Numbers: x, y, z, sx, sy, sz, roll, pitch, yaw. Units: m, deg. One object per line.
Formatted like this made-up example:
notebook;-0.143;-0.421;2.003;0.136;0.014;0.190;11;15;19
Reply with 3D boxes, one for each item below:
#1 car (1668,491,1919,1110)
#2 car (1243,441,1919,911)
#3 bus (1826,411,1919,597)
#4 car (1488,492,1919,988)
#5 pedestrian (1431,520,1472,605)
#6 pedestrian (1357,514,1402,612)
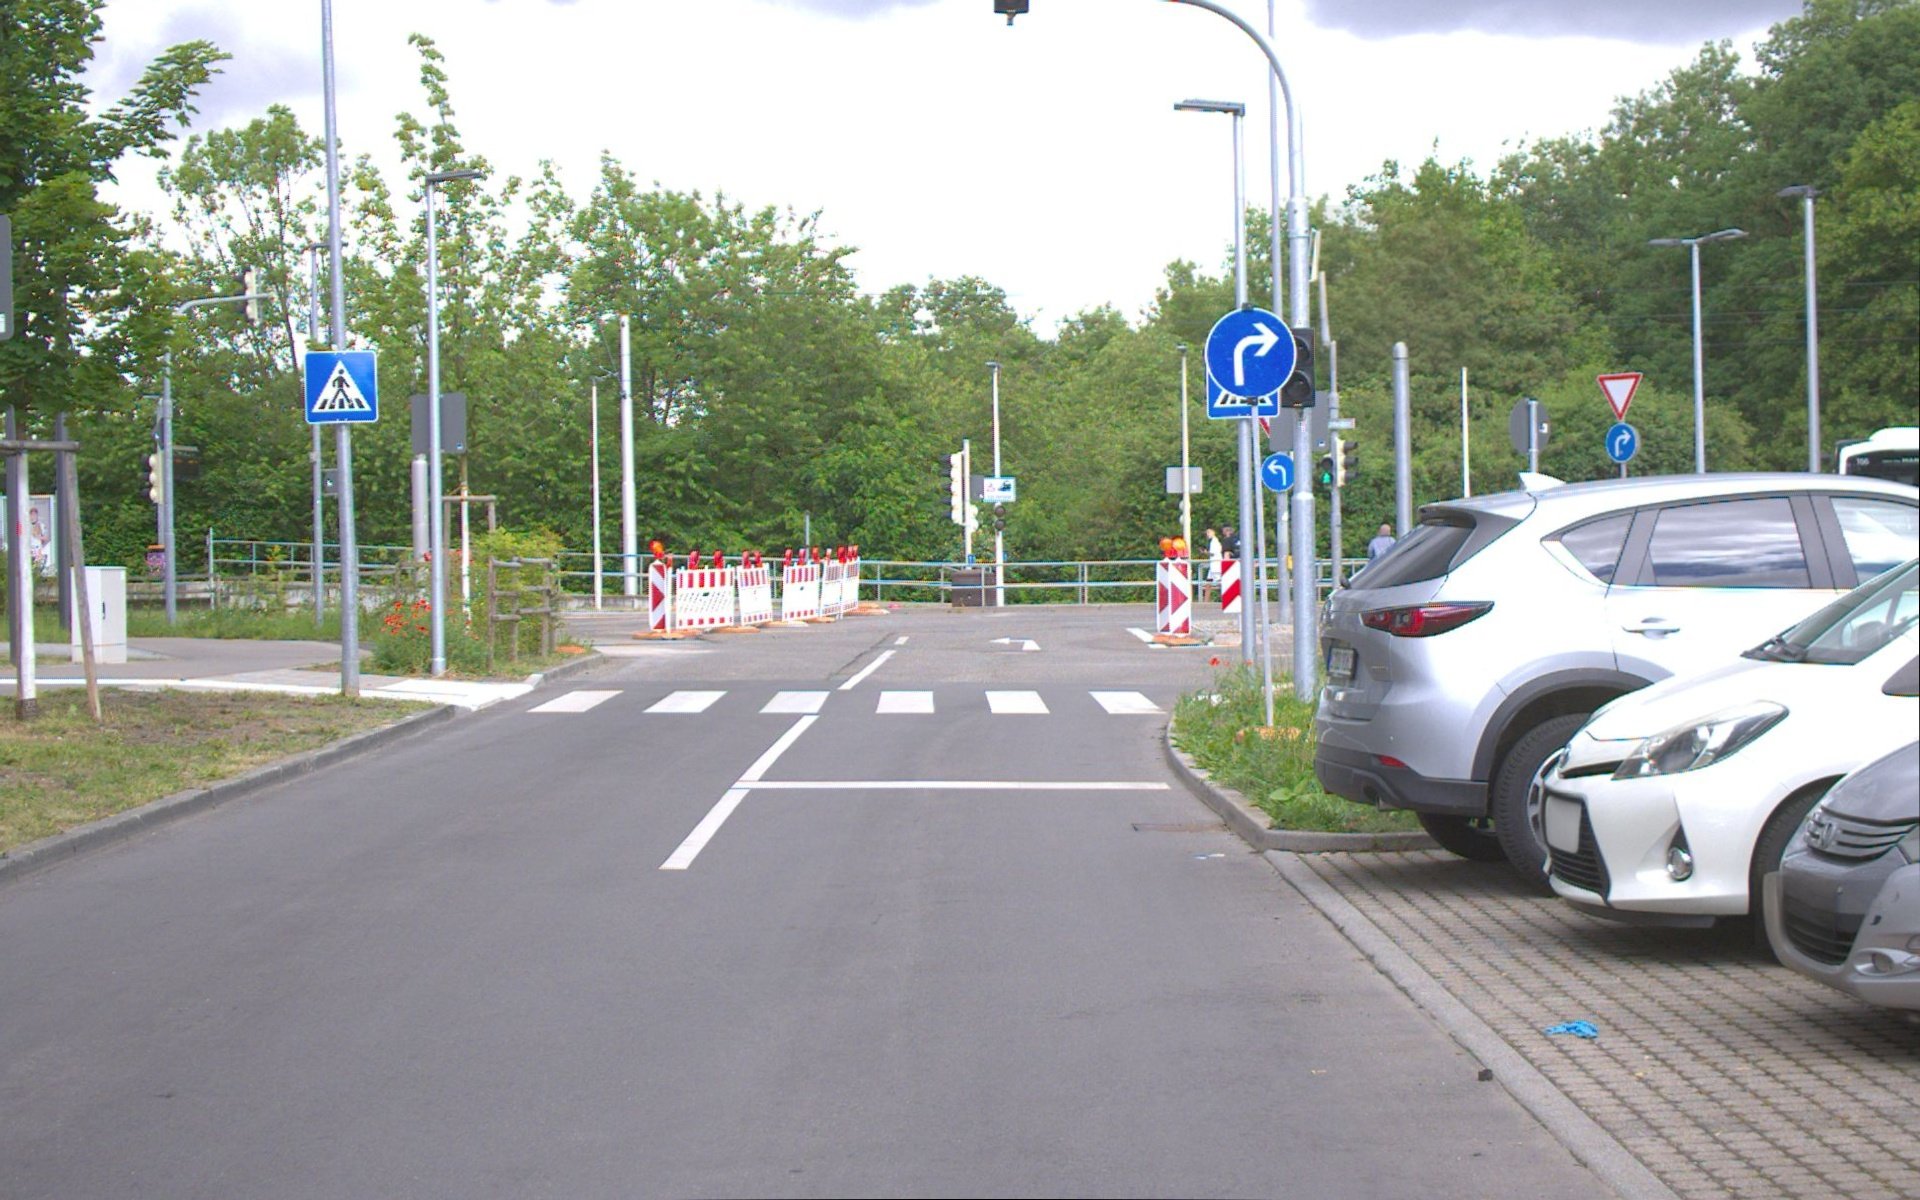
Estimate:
car;4.485;0.398;9.725;4.476;1.557;1.912;-2;1;-2
car;3.716;0.221;14.729;4.647;1.746;2.070;-3;1;-4
bus;21.377;-1.783;59.733;12.166;3.192;2.673;-1;1;13
car;4.113;0.397;12.098;4.154;1.580;1.796;-1;1;-2
pedestrian;9.442;-0.721;66.041;0.720;1.616;0.805;0;1;12
pedestrian;7.573;-0.672;62.002;0.720;1.742;0.957;0;1;12
